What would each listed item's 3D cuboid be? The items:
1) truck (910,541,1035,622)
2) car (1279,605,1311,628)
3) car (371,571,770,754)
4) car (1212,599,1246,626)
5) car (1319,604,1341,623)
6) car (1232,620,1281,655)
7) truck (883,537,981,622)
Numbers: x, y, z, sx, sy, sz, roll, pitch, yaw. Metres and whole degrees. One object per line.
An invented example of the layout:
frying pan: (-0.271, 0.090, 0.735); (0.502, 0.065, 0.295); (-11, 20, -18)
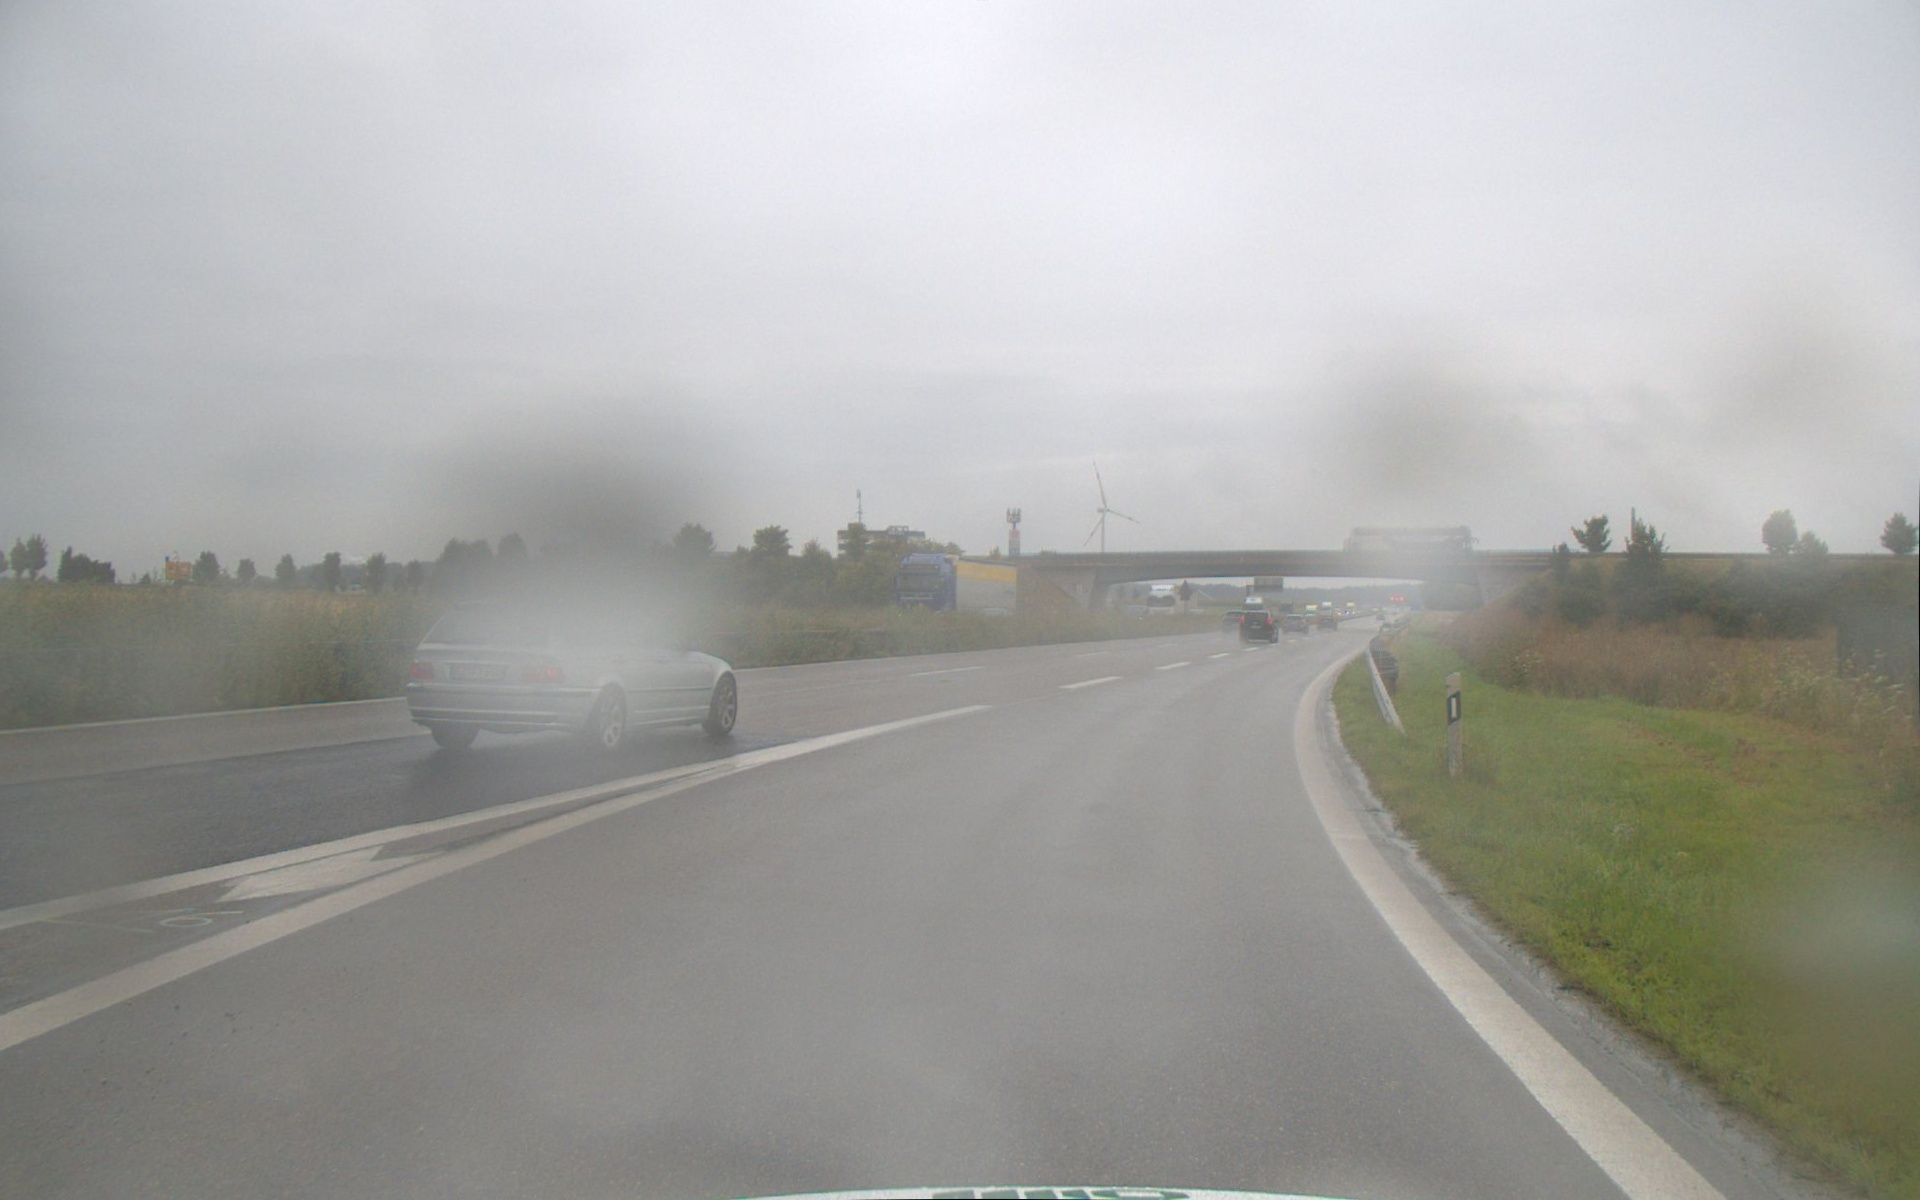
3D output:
truck: (0.975, -0.886, 93.558); (3.127, 4.035, 15.328); (3, 0, 15)
car: (25.304, 1.236, 124.839); (2.009, 1.665, 4.352); (2, 0, 15)
car: (-3.592, 0.552, 16.350); (1.834, 1.514, 4.799); (1, -1, 14)
car: (19.059, 0.875, 117.051); (1.951, 1.780, 4.004); (-1, 1, 15)
car: (36.346, 1.316, 162.444); (1.951, 1.727, 4.004); (-1, 1, 15)
car: (15.273, 1.914, 85.047); (2.100, 1.665, 4.598); (2, -1, 15)
truck: (-1.341, -0.980, 84.882); (3.127, 4.035, 6.667); (3, 0, 15)
